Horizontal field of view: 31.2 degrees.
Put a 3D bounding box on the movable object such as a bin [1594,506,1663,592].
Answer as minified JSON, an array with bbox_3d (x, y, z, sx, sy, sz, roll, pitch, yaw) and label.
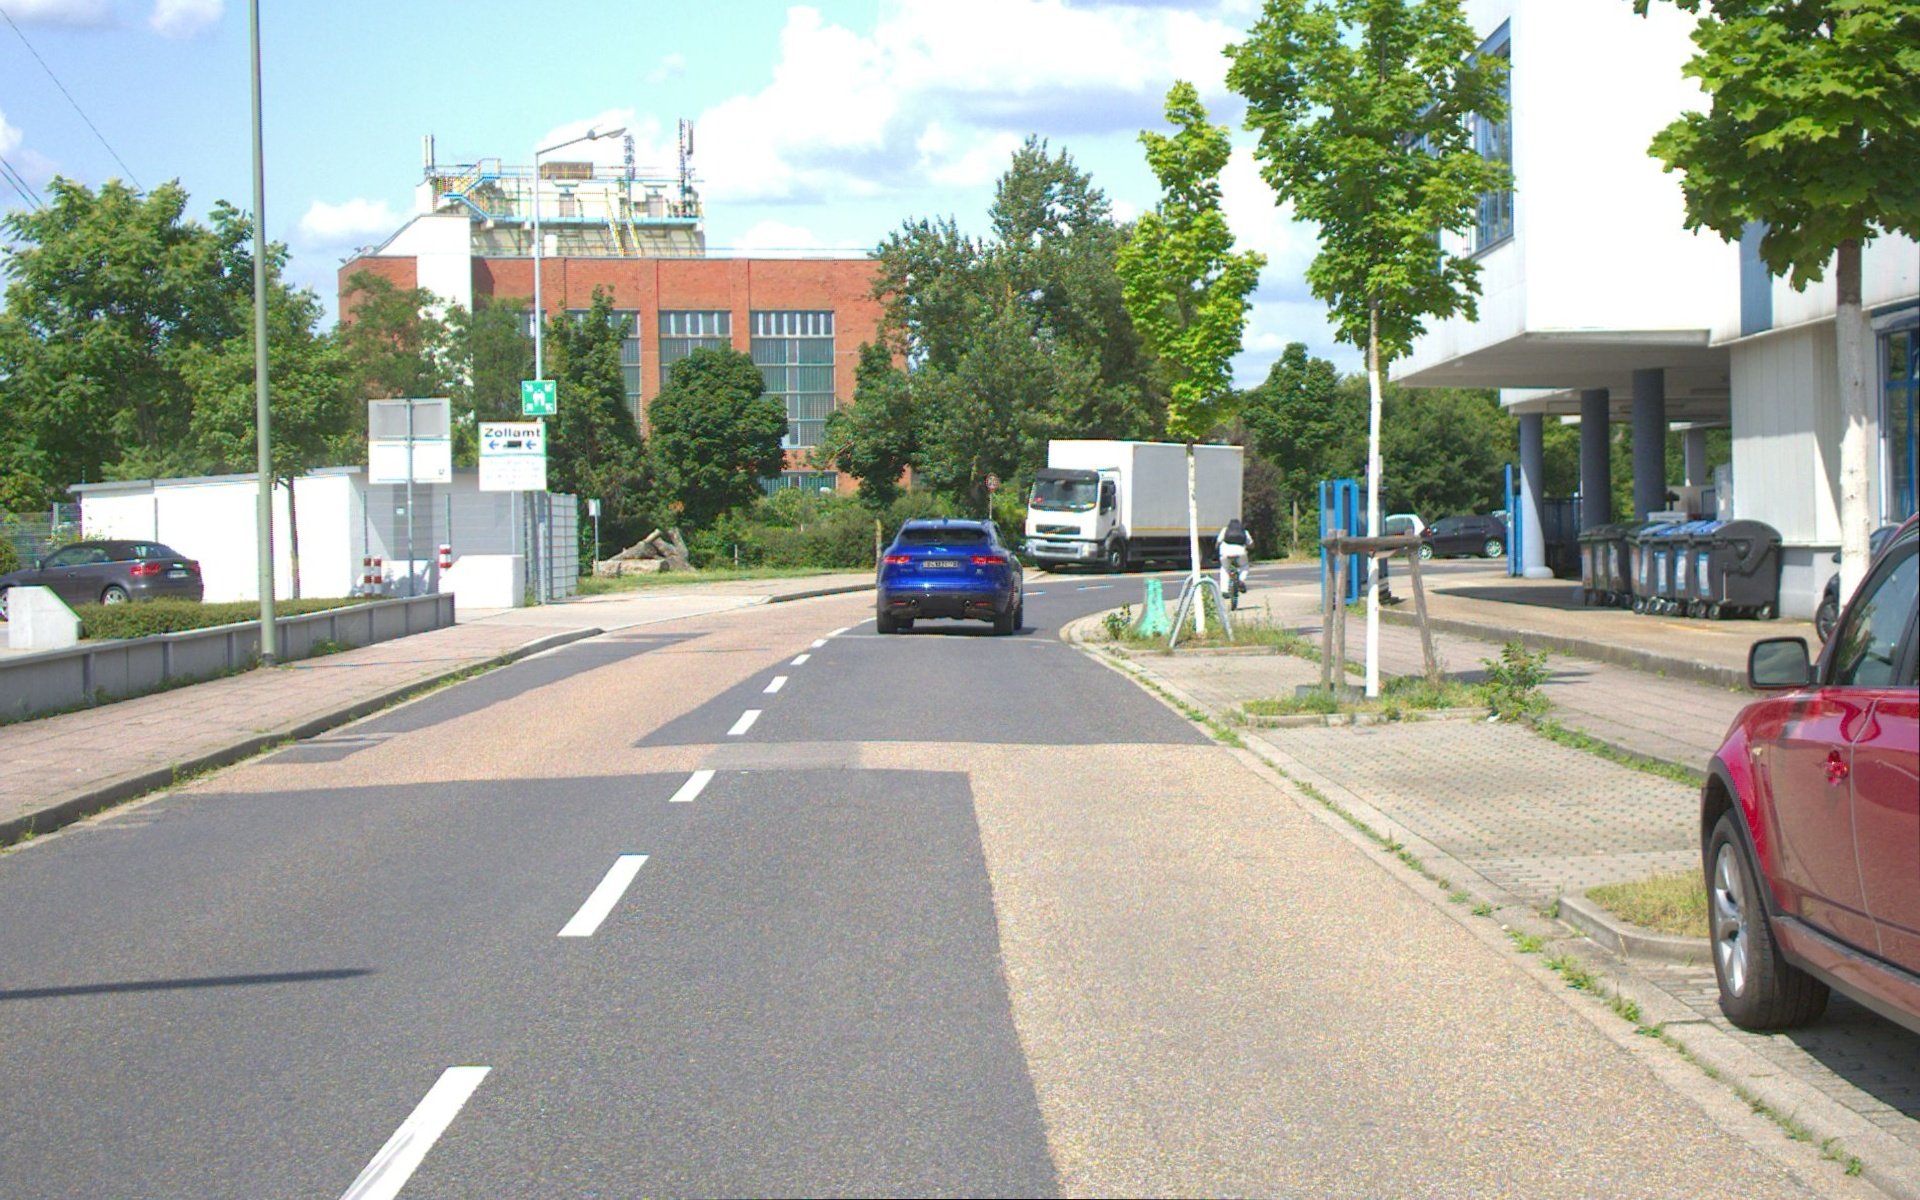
[{"bbox_3d":[11.117,-0.852,57.223,0.804,1.408,1.406,0,1,-3],"label":"movable object such as a bin"}]

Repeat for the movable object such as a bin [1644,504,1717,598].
[{"bbox_3d":[11.077,-0.758,52.880,0.804,1.408,1.358,0,1,-1],"label":"movable object such as a bin"}]

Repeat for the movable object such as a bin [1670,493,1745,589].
[{"bbox_3d":[11.164,-0.889,51.379,0.804,1.408,1.358,0,1,-1],"label":"movable object such as a bin"}]

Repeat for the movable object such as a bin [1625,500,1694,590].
[{"bbox_3d":[11.025,-0.872,54.199,0.804,1.408,1.175,0,1,-3],"label":"movable object such as a bin"}]

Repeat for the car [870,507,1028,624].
[{"bbox_3d":[-0.111,-0.528,49.745,1.910,1.587,4.701,-1,1,4],"label":"car"}]

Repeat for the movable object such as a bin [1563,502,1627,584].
[{"bbox_3d":[11.092,-0.994,60.113,0.804,1.408,1.358,0,1,-3],"label":"movable object such as a bin"}]

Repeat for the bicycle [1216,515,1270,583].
[{"bbox_3d":[4.821,-0.874,58.479,0.667,1.105,2.167,-1,2,11],"label":"bicycle"}]

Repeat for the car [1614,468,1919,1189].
[{"bbox_3d":[3.050,0.464,9.034,1.755,1.645,4.678,-1,2,0],"label":"car"}]

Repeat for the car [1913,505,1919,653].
[{"bbox_3d":[10.475,-0.185,32.950,1.572,1.485,3.817,-1,1,-1],"label":"car"}]

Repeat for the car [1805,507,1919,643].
[{"bbox_3d":[10.423,-0.303,37.324,1.496,1.398,3.855,-1,1,-1],"label":"car"}]

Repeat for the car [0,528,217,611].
[{"bbox_3d":[-15.230,-0.538,60.775,3.994,1.373,1.800,0,2,34],"label":"car"}]

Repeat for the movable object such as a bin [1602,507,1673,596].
[{"bbox_3d":[10.959,-0.792,55.650,0.804,1.408,1.427,0,1,-3],"label":"movable object such as a bin"}]

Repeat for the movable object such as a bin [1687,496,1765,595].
[{"bbox_3d":[11.117,-0.794,49.912,0.804,1.408,1.358,0,1,-1],"label":"movable object such as a bin"}]

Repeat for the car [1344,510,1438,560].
[{"bbox_3d":[14.070,-2.125,112.375,2.898,1.564,1.890,-1,1,3],"label":"car"}]

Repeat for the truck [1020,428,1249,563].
[{"bbox_3d":[4.925,-2.970,94.903,2.325,3.555,9.352,1,3,30],"label":"truck"}]

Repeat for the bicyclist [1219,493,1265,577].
[{"bbox_3d":[4.816,-1.113,58.613,0.663,1.392,0.858,-1,1,11],"label":"bicyclist"}]

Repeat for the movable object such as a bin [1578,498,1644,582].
[{"bbox_3d":[11.096,-1.020,58.633,0.804,1.408,1.358,0,1,-3],"label":"movable object such as a bin"}]
